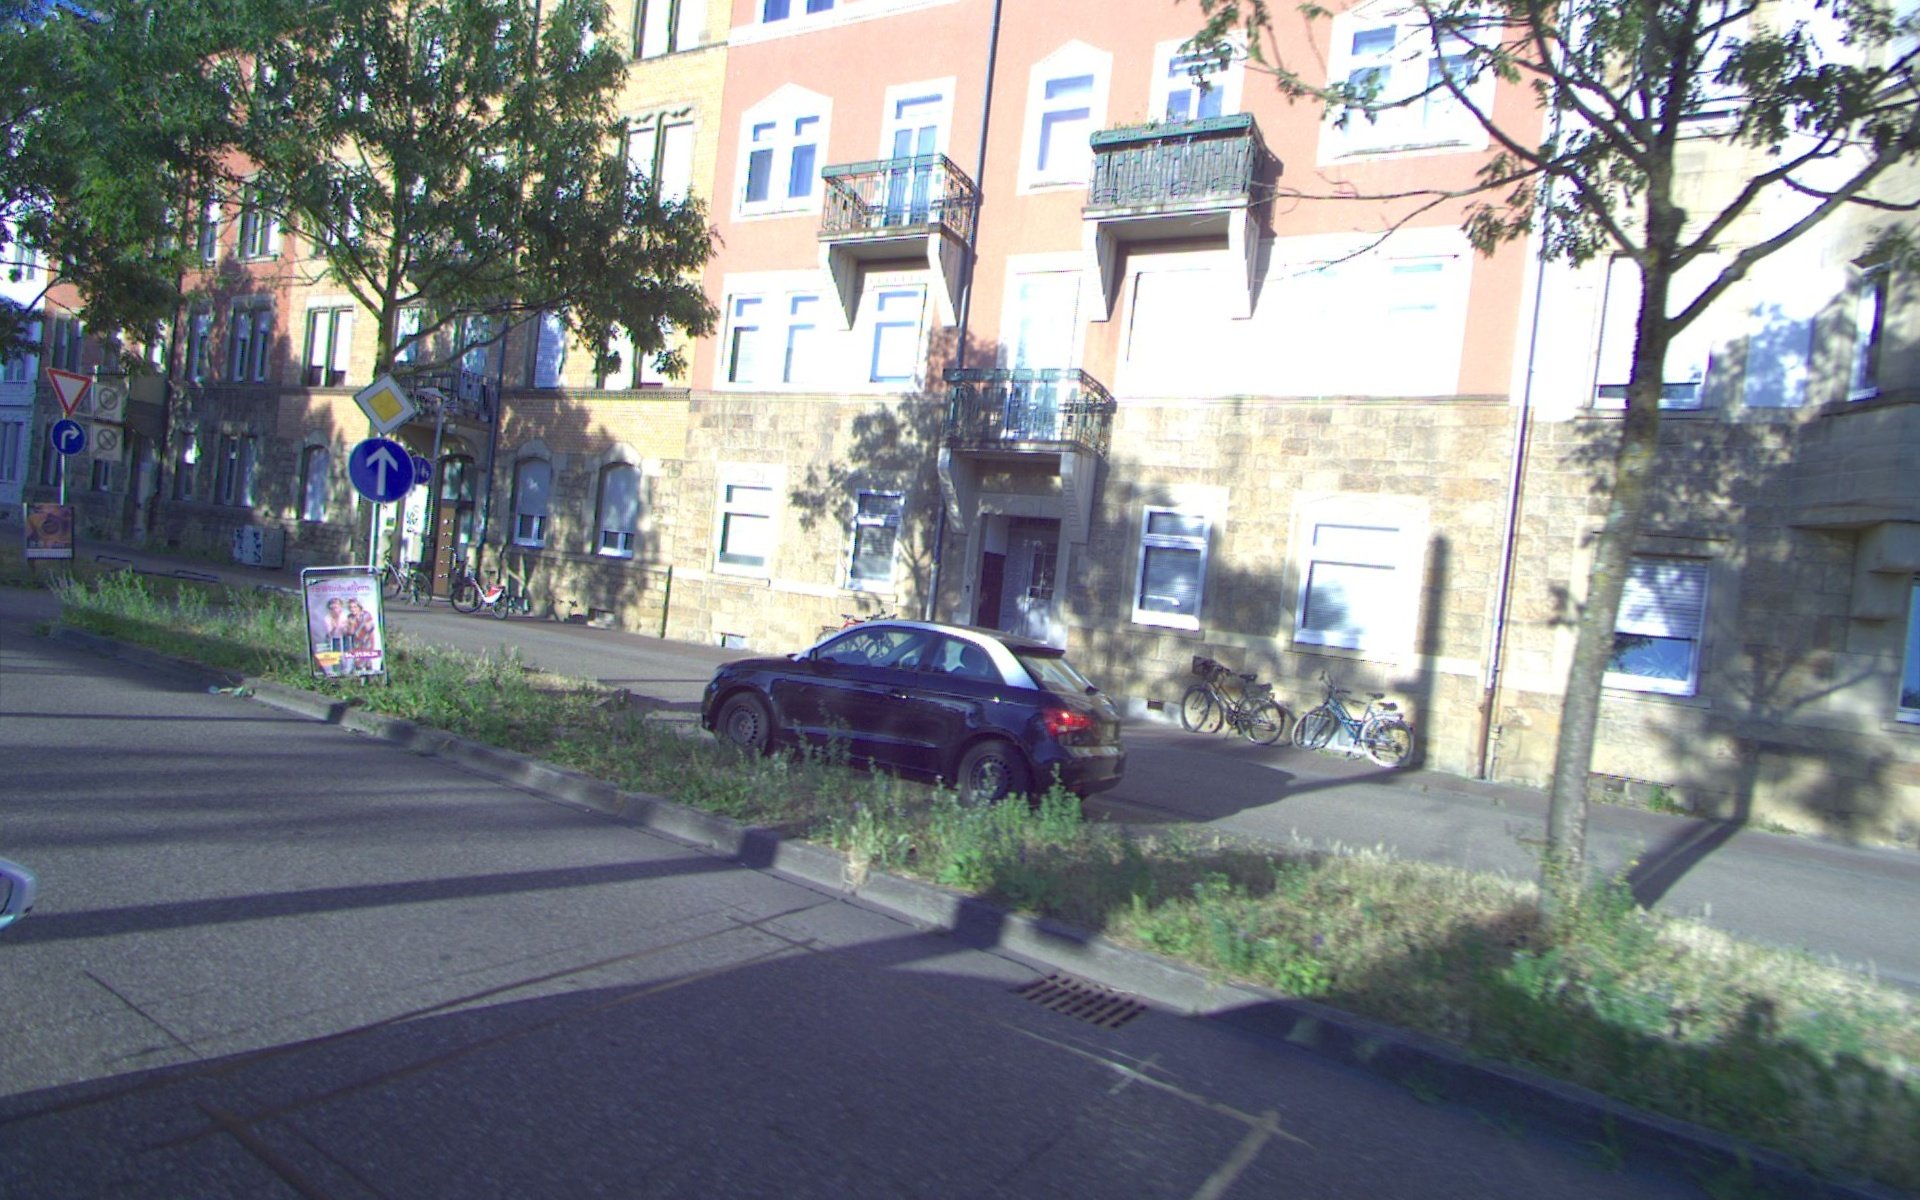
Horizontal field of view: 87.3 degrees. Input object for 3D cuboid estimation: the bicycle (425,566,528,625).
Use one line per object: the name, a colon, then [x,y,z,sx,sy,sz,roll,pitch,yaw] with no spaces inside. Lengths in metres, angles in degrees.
bicycle: [-9.891,-0.105,20.544,2.301,0.960,0.734,7,2,32]

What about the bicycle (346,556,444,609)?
bicycle: [-12.144,-0.380,21.626,2.049,0.928,0.873,7,2,30]

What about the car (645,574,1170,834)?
car: [-0.530,0.801,8.867,4.215,1.464,1.709,7,-3,29]

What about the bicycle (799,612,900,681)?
bicycle: [-1.978,0.823,17.911,1.716,1.018,0.484,7,1,29]

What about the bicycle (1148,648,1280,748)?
bicycle: [3.734,1.423,14.852,1.716,1.182,0.483,7,6,29]

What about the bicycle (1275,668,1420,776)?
bicycle: [5.357,1.661,13.954,1.716,1.182,0.483,7,6,29]
